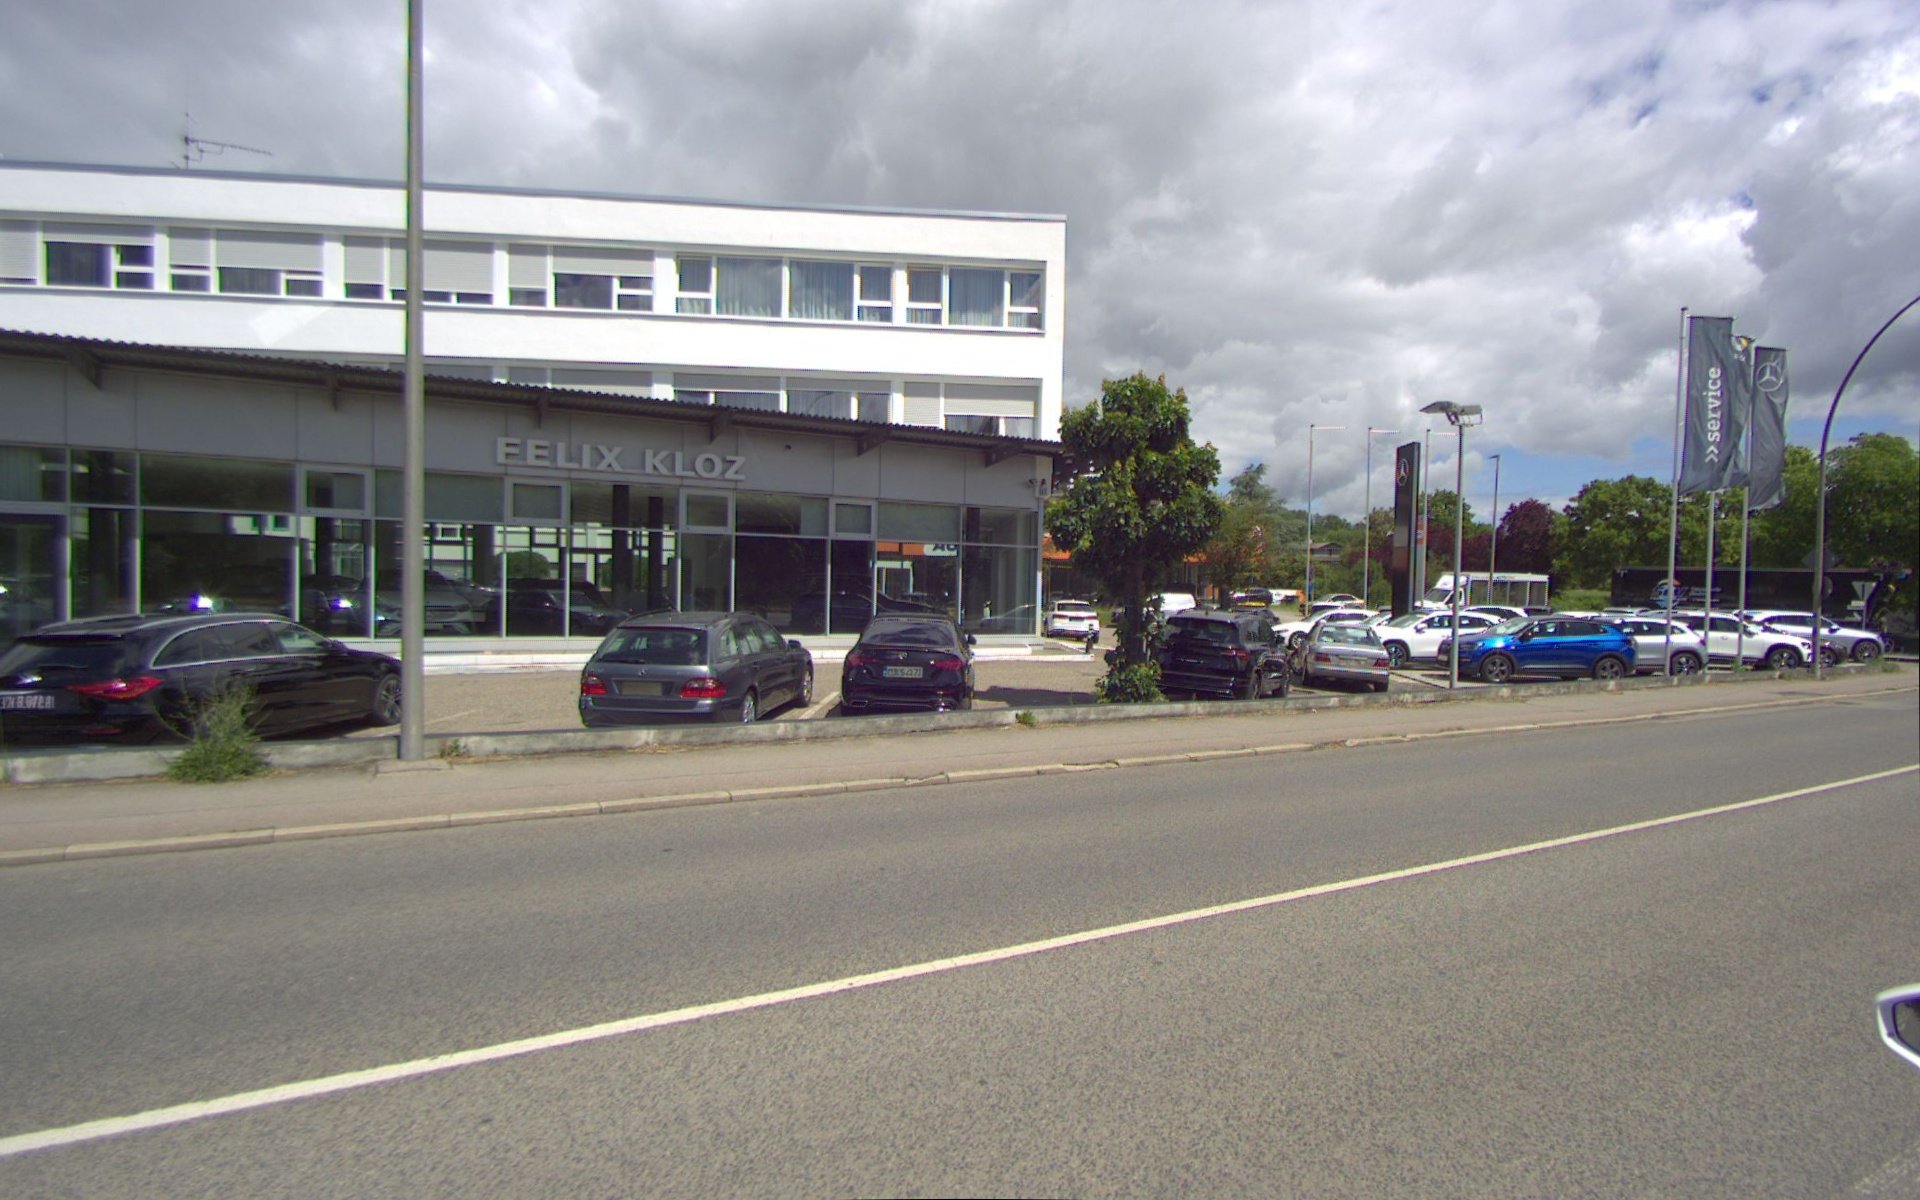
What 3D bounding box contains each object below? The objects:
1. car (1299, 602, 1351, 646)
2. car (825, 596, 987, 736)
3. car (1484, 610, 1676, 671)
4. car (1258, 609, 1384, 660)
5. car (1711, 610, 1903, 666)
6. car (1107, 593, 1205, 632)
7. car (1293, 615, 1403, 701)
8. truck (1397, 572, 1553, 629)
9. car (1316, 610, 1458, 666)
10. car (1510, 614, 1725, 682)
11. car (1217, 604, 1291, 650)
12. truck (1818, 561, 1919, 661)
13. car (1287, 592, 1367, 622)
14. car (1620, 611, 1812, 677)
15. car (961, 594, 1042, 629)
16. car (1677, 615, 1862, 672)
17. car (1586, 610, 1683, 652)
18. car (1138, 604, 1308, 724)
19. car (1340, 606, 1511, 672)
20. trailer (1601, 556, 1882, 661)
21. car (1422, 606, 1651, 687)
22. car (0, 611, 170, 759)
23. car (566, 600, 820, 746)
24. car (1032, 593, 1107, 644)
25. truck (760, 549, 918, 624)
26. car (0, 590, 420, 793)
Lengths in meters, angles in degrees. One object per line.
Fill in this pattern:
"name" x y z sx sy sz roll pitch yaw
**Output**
"car" 15.072 0.961 41.399 1.811 1.651 3.998 2 0 22
"car" -0.627 0.822 15.014 2.021 1.647 4.636 1 1 1
"car" 18.130 1.157 29.533 4.431 1.587 1.874 1 2 1
"car" 12.873 1.218 35.998 3.875 1.647 1.804 1 1 3
"car" 28.968 1.273 34.505 4.646 1.626 1.989 2 2 8
"car" 10.140 0.617 52.152 4.588 1.870 1.831 2 1 -7
"car" 8.687 1.213 22.851 1.768 1.408 4.599 5 3 15
"truck" 30.187 0.033 58.943 8.445 3.090 2.657 1 0 -14
"car" 14.001 1.232 33.090 3.875 1.647 1.804 1 1 3
"car" 17.472 1.246 26.861 4.431 1.587 1.874 1 2 1
"car" 11.910 1.038 40.573 1.773 1.647 3.943 2 2 33
"truck" 37.997 0.456 39.929 2.961 3.874 5.506 2 0 -41
"car" 24.266 0.465 66.456 4.588 1.870 1.831 2 1 -7
"car" 22.573 1.259 30.219 4.217 1.700 1.935 2 1 24
"car" 2.102 0.571 51.324 3.925 1.615 1.729 2 0 -6
"car" 25.718 1.331 32.114 4.248 1.485 1.794 2 3 27
"car" 27.823 1.280 41.388 4.718 1.623 1.785 1 -1 -36
"car" 4.774 0.997 17.779 1.771 1.647 4.344 5 3 29
"car" 12.759 1.045 27.675 3.880 1.647 1.802 1 1 -6
"trailer" 33.737 0.263 43.888 9.320 4.137 3.306 2 0 39
"car" 14.099 1.116 24.761 4.480 1.691 1.894 2 2 1
"car" -10.553 0.909 9.983 1.855 1.347 4.464 1 2 0
"car" -3.159 0.786 12.764 1.767 1.514 3.957 1 0 6
"car" 3.849 0.614 36.013 1.890 1.611 4.582 3 0 -3
"truck" -6.044 -0.663 50.880 7.670 3.469 2.446 2 1 -3
"car" -7.863 0.747 10.694 1.768 1.647 4.508 0 1 0
